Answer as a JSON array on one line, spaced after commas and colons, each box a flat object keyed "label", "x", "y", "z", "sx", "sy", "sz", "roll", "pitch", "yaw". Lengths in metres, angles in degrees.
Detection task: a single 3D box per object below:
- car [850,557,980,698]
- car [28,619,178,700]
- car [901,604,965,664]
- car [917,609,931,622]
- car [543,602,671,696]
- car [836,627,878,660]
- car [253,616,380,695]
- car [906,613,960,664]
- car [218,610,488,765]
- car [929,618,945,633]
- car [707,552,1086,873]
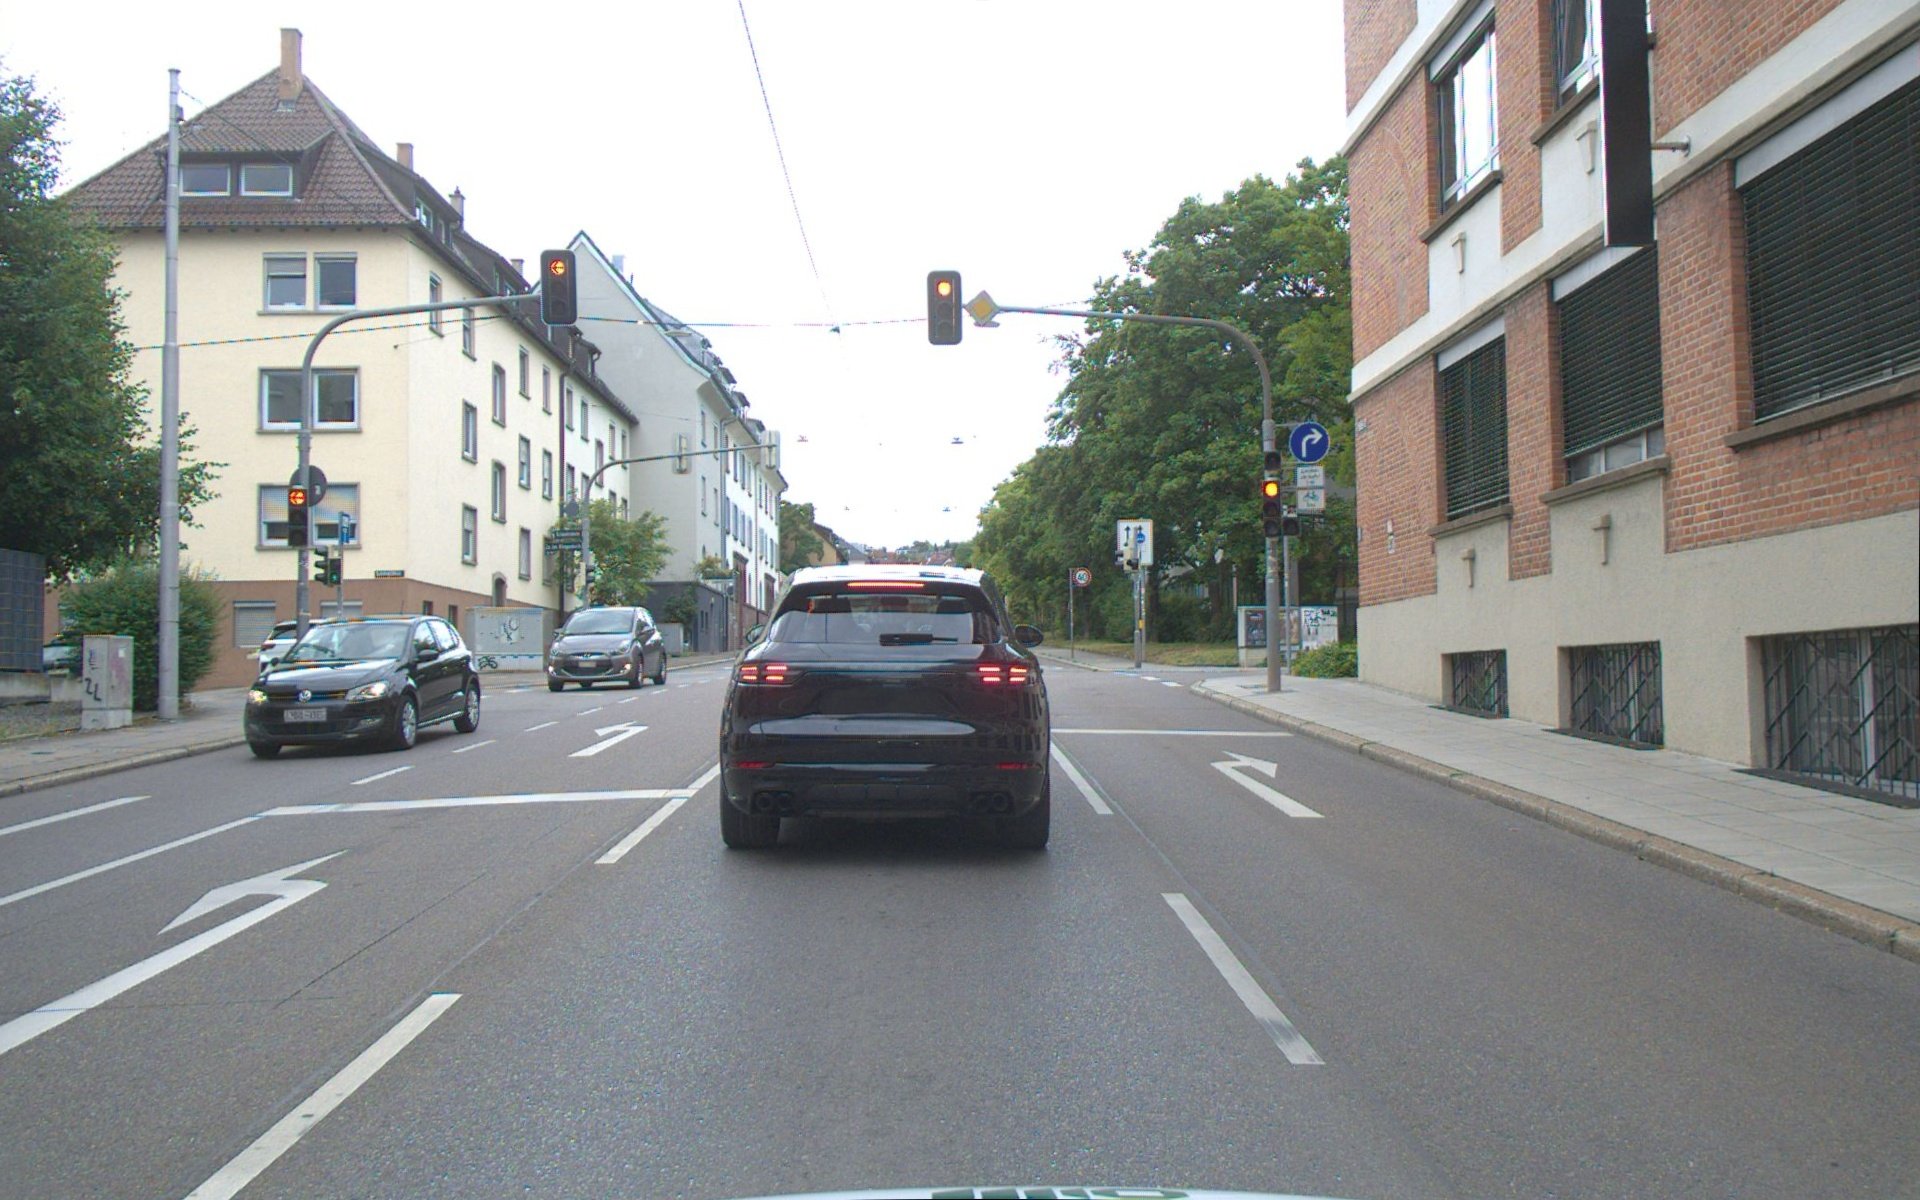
[{"label": "car", "x": -0.691, "y": 0.404, "z": 26.803, "sx": 1.925, "sy": 2.078, "sz": 4.134, "roll": 1, "pitch": 0, "yaw": -1}, {"label": "car", "x": -19.658, "y": 1.322, "z": 38.124, "sx": 1.658, "sy": 1.636, "sz": 3.762, "roll": -3, "pitch": 1, "yaw": -5}, {"label": "car", "x": -0.779, "y": 0.964, "z": 48.718, "sx": 1.790, "sy": 1.633, "sz": 4.134, "roll": 1, "pitch": 0, "yaw": -1}, {"label": "car", "x": -4.673, "y": 2.006, "z": 215.091, "sx": 1.790, "sy": 1.633, "sz": 4.134, "roll": 1, "pitch": 0, "yaw": -1}, {"label": "car", "x": -6.877, "y": 0.902, "z": 32.603, "sx": 1.669, "sy": 1.614, "sz": 3.935, "roll": -3, "pitch": 0, "yaw": -1}, {"label": "car", "x": -4.963, "y": 2.086, "z": 80.328, "sx": 1.749, "sy": 1.443, "sz": 4.669, "roll": -3, "pitch": 0, "yaw": -1}, {"label": "car", "x": -14.819, "y": 1.240, "z": 38.300, "sx": 1.658, "sy": 1.582, "sz": 3.762, "roll": -3, "pitch": 1, "yaw": -5}, {"label": "car", "x": -0.906, "y": 1.300, "z": 57.429, "sx": 1.790, "sy": 1.633, "sz": 3.858, "roll": 1, "pitch": 0, "yaw": -1}, {"label": "car", "x": -6.660, "y": 0.897, "z": 18.584, "sx": 1.639, "sy": 1.424, "sz": 3.793, "roll": -3, "pitch": 0, "yaw": -1}, {"label": "car", "x": -2.625, "y": 2.890, "z": 187.322, "sx": 1.790, "sy": 1.633, "sz": 4.134, "roll": 1, "pitch": 0, "yaw": -1}, {"label": "car", "x": -0.356, "y": 0.592, "z": 10.998, "sx": 2.007, "sy": 1.695, "sz": 4.266, "roll": 1, "pitch": 0, "yaw": -1}]
